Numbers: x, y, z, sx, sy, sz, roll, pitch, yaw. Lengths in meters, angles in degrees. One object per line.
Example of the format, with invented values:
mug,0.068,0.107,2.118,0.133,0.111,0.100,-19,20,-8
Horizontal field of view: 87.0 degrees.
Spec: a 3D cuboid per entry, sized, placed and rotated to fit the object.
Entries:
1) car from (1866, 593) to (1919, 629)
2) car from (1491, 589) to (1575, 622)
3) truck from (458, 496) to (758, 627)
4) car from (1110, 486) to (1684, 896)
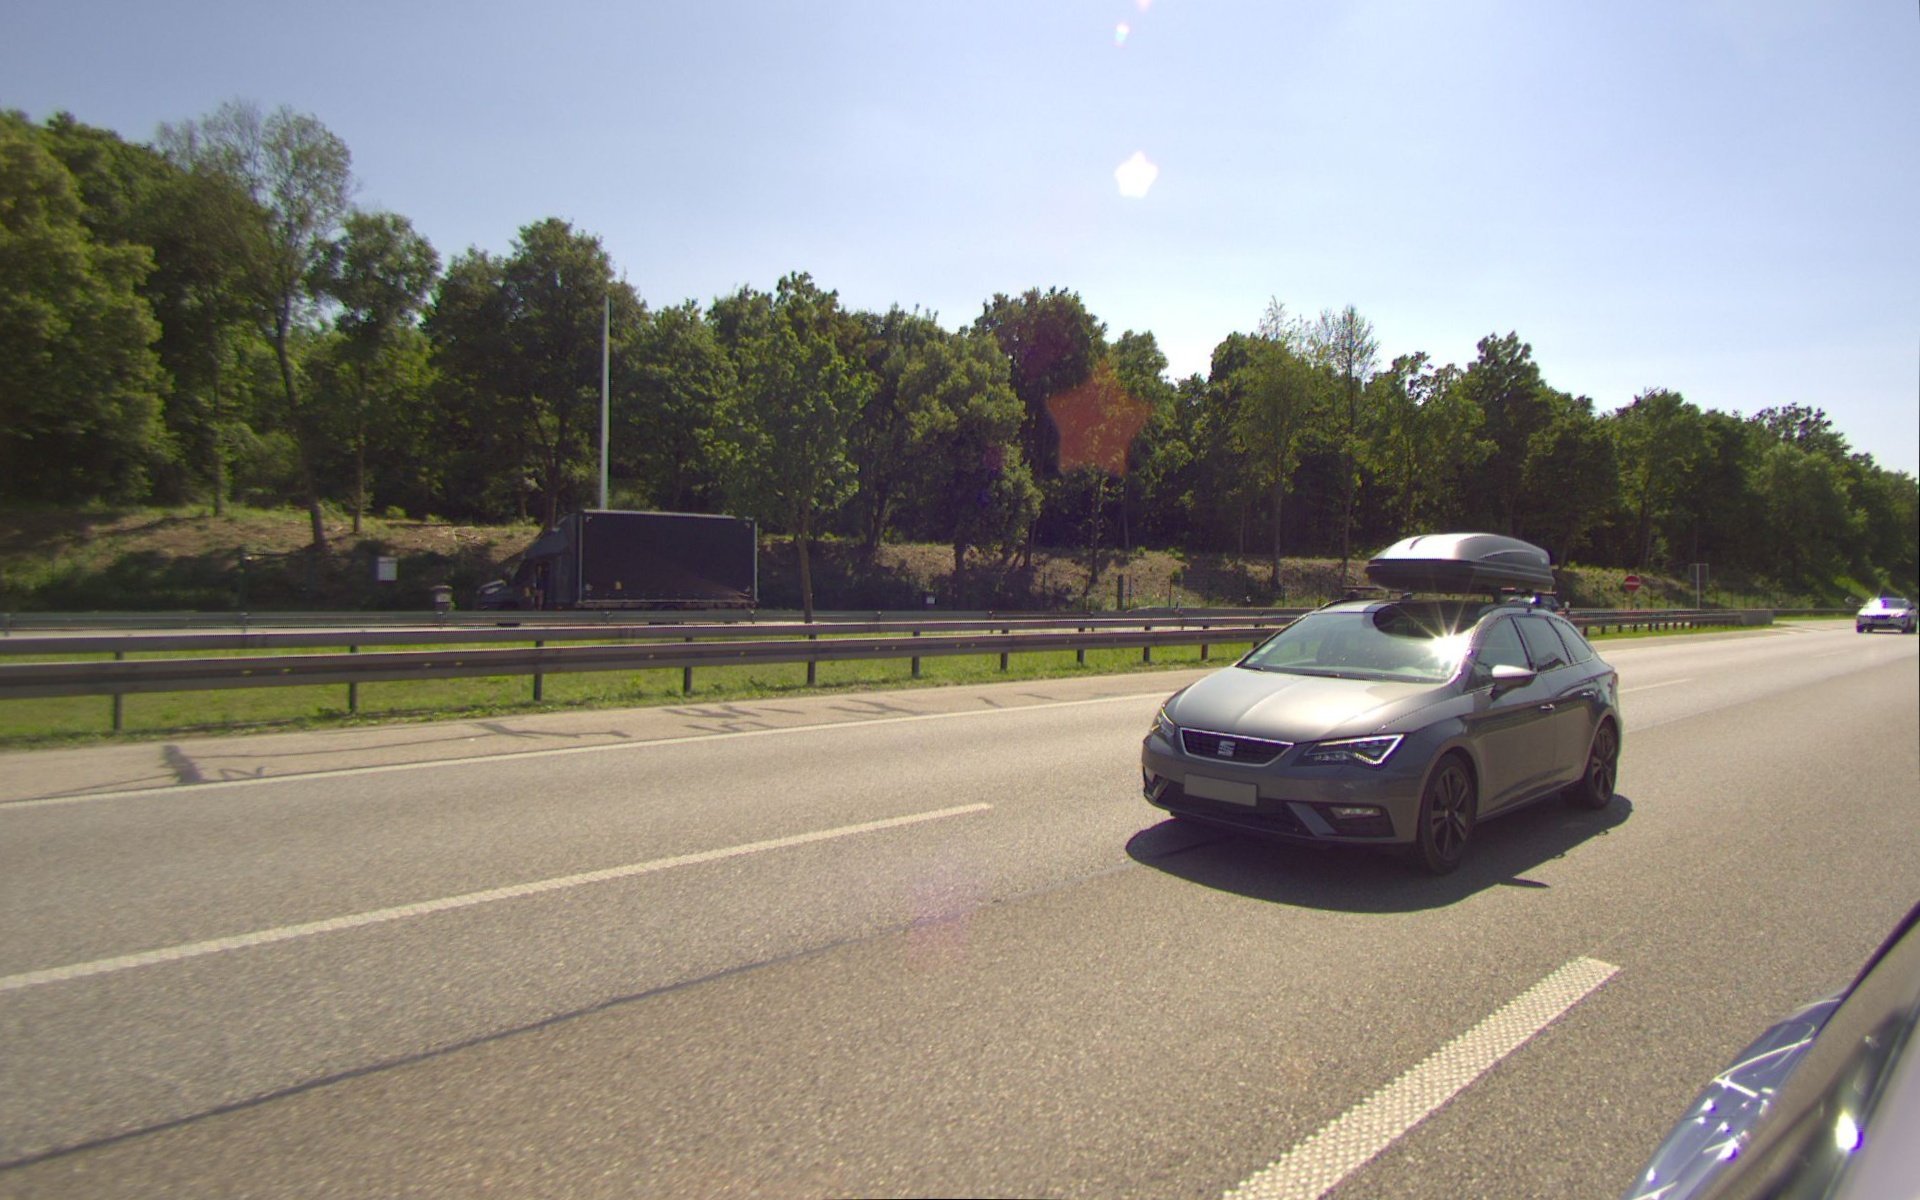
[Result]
car,43.659,0.491,46.954,3.963,1.588,1.847,0,0,-40
car,29.153,0.267,51.466,4.171,1.588,1.773,0,0,-28
truck,-11.890,-1.198,34.529,9.162,3.996,3.301,1,1,-30
car,3.231,0.393,6.885,4.743,1.899,1.668,0,2,-41
